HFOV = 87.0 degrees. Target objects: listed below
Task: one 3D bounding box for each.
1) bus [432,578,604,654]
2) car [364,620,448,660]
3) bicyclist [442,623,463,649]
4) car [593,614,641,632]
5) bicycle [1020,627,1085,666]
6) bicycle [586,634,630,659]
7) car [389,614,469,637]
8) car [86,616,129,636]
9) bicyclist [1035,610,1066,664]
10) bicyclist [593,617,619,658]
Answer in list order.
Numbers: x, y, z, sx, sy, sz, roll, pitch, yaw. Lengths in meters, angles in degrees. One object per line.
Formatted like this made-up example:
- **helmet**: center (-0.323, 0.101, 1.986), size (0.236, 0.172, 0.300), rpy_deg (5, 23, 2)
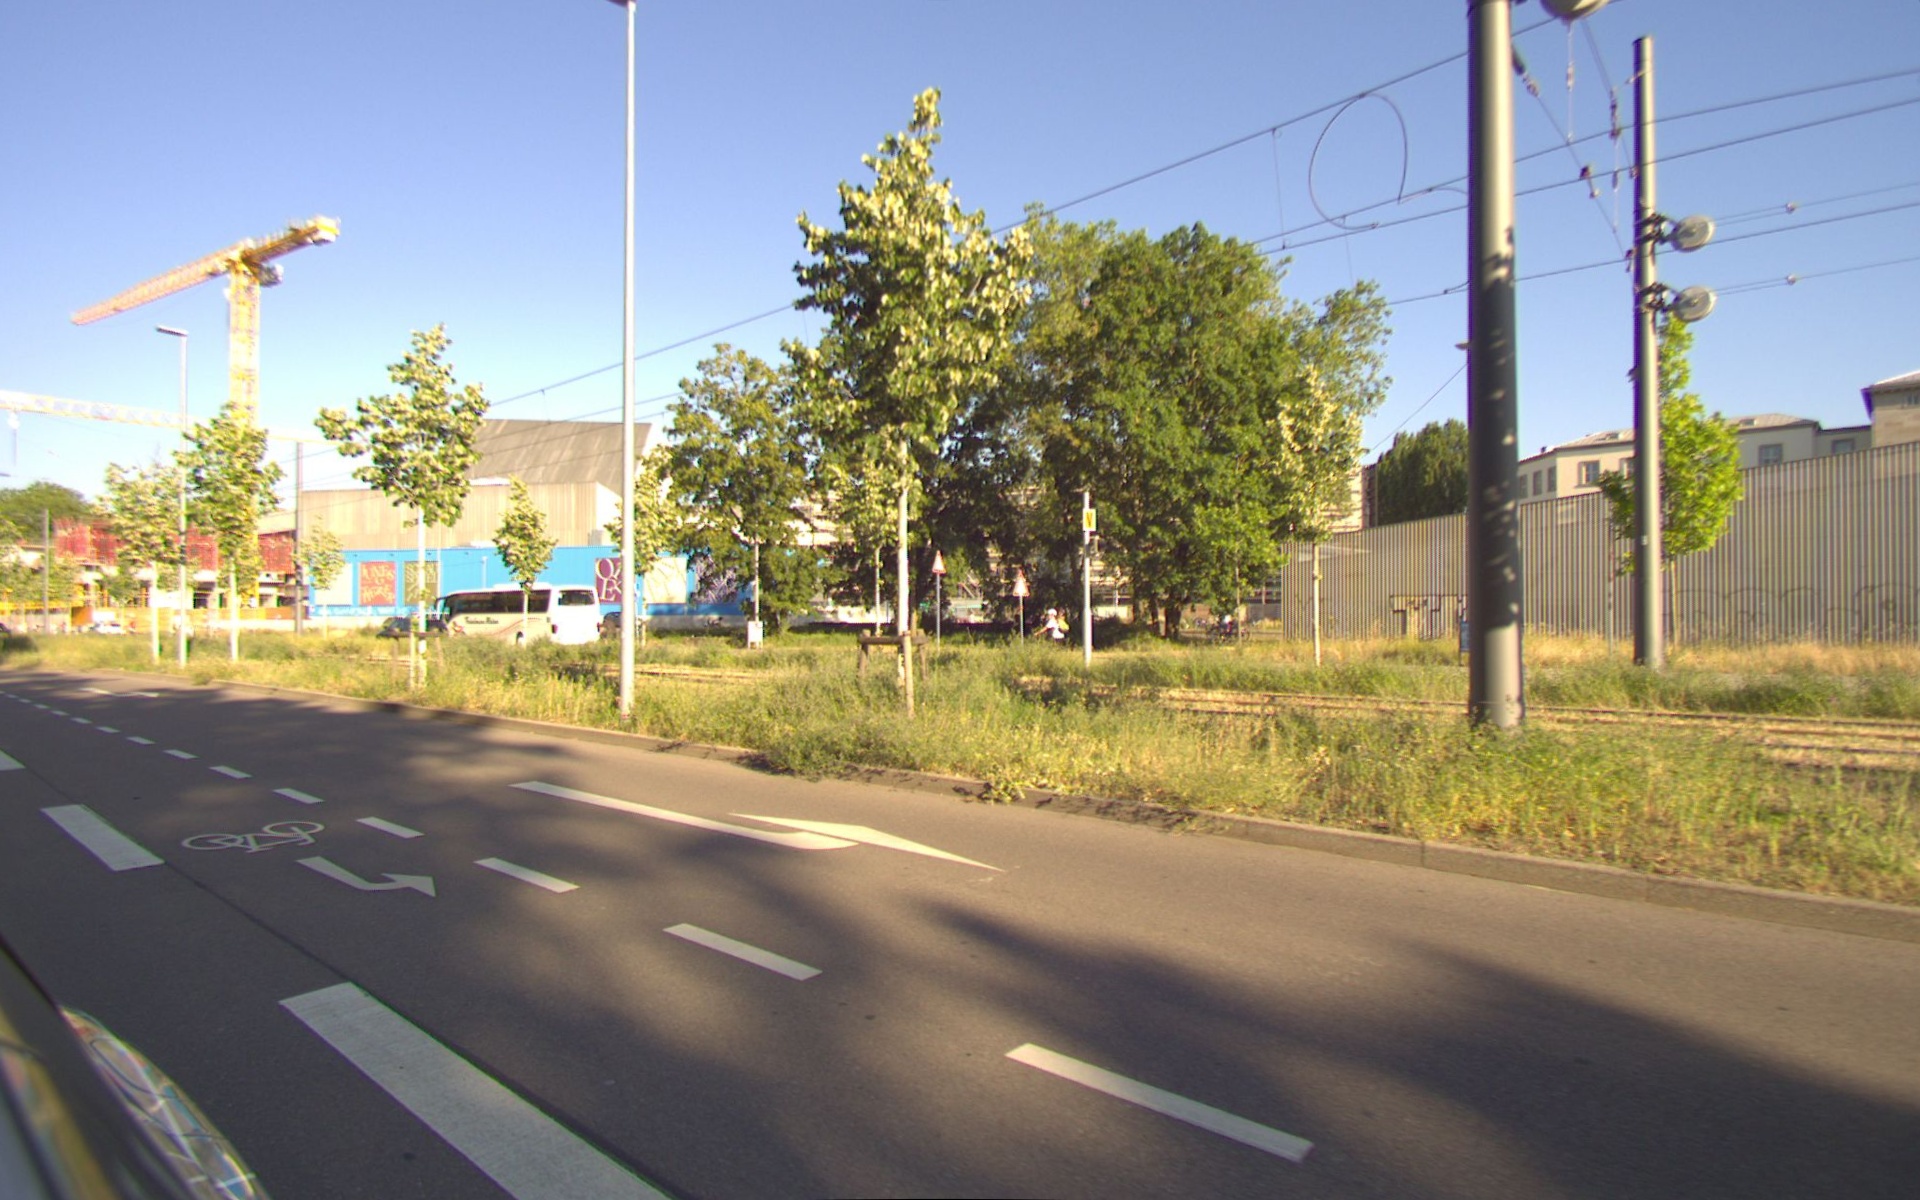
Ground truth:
- **bus**: center (-23.566, 0.868, 53.352), size (12.683, 3.622, 2.772), rpy_deg (-1, -1, 39)
- **car**: center (-26.310, 1.862, 48.006), size (4.808, 1.779, 1.852), rpy_deg (-1, -1, 40)
- **bicyclist**: center (-26.288, 1.860, 52.407), size (0.870, 1.357, 0.681), rpy_deg (-1, -2, 39)
- **car**: center (-31.877, 2.161, 94.026), size (4.183, 1.648, 1.406), rpy_deg (-1, -1, 14)
- **bicycle**: center (2.634, 1.309, 28.944), size (1.897, 1.068, 0.553), rpy_deg (-1, -1, 41)
- **bicycle**: center (-15.169, 1.999, 43.570), size (2.359, 1.010, 0.680), rpy_deg (-1, -1, 41)
- **car**: center (-41.550, 1.954, 79.284), size (2.121, 1.730, 5.178), rpy_deg (-1, -1, 37)
- **car**: center (-71.525, 2.156, 84.865), size (4.162, 1.655, 1.975), rpy_deg (-1, -1, 38)
- **bicyclist**: center (2.594, 1.050, 28.970), size (0.667, 1.518, 0.551), rpy_deg (-1, -1, 41)
- **bicyclist**: center (-15.276, 1.598, 43.642), size (0.953, 1.721, 0.680), rpy_deg (-2, -2, 40)
